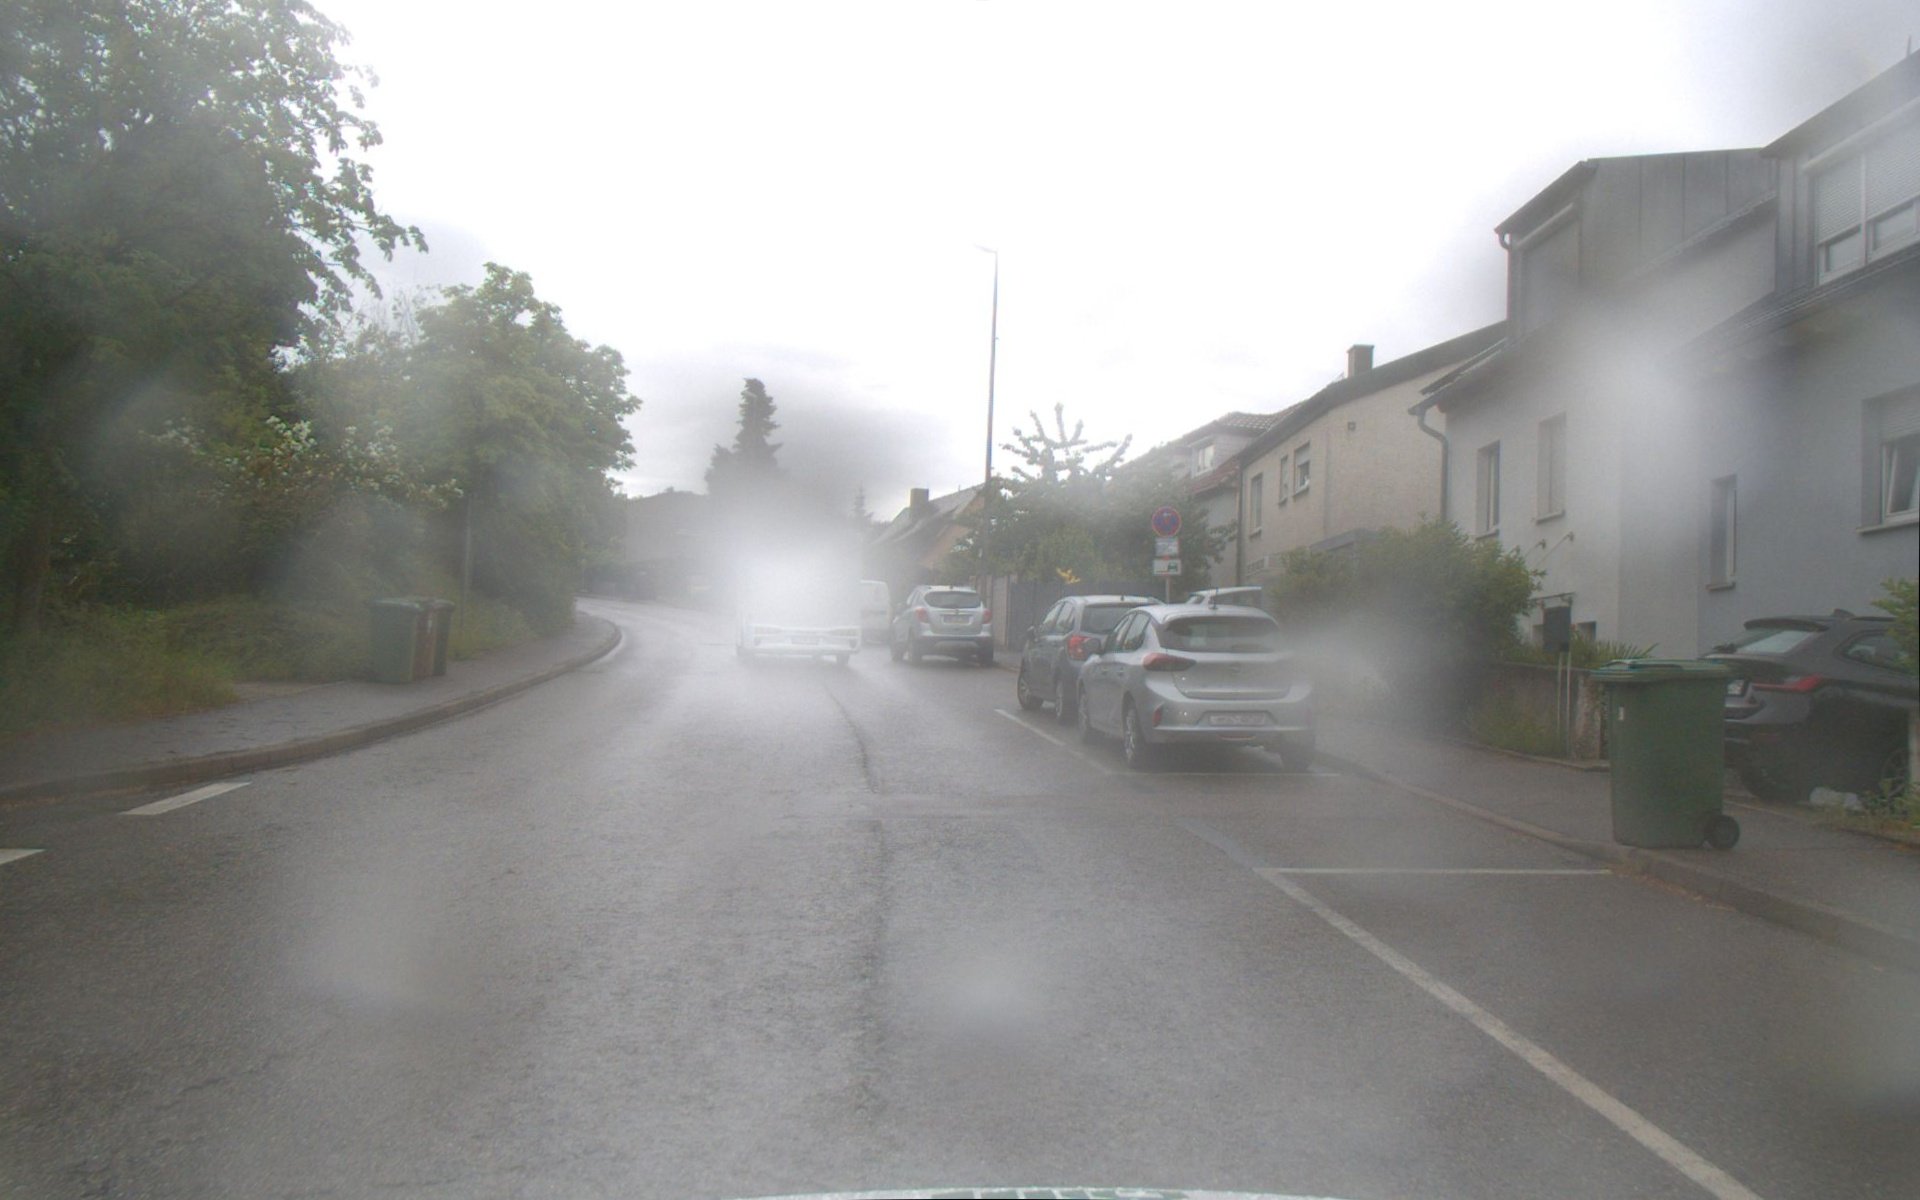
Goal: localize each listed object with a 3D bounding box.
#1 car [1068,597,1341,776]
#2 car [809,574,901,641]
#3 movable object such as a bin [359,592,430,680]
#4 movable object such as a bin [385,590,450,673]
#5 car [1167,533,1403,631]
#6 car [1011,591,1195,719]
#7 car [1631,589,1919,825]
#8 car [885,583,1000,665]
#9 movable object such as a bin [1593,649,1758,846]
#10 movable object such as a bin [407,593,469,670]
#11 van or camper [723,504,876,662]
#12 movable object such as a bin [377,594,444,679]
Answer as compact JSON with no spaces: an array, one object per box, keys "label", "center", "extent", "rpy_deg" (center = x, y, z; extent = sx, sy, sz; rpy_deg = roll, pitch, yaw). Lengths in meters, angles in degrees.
[{"label":"car","center":[2.247,0.734,16.339],"extent":[1.734,1.493,4.230],"rpy_deg":[0,0,-5]},{"label":"car","center":[-3.136,0.191,48.709],"extent":[1.749,1.835,4.688],"rpy_deg":[2,0,-15]},{"label":"movable object such as a bin","center":[-7.327,0.455,21.444],"extent":[0.755,1.115,0.736],"rpy_deg":[1,0,-12]},{"label":"movable object such as a bin","center":[-7.521,0.431,22.949],"extent":[0.755,1.115,0.670],"rpy_deg":[1,0,-12]},{"label":"car","center":[6.003,-0.300,30.815],"extent":[3.909,1.617,1.933],"rpy_deg":[2,-1,-5]},{"label":"car","center":[1.766,0.644,21.500],"extent":[1.628,1.493,3.757],"rpy_deg":[0,0,-7]},{"label":"car","center":[7.422,0.928,12.315],"extent":[3.912,1.466,1.998],"rpy_deg":[8,-1,-5]},{"label":"car","center":[-0.441,0.464,35.863],"extent":[1.772,1.655,4.276],"rpy_deg":[0,0,-11]},{"label":"movable object such as a bin","center":[4.200,0.851,9.744],"extent":[0.662,1.086,0.645],"rpy_deg":[1,0,-3]},{"label":"movable object such as a bin","center":[-7.468,0.447,23.695],"extent":[0.755,1.086,0.689],"rpy_deg":[1,0,-12]},{"label":"van or camper","center":[-3.501,-0.329,34.811],"extent":[2.495,2.976,5.930],"rpy_deg":[2,0,-12]},{"label":"movable object such as a bin","center":[-7.375,0.487,22.219],"extent":[0.755,1.115,0.736],"rpy_deg":[1,0,-12]}]
